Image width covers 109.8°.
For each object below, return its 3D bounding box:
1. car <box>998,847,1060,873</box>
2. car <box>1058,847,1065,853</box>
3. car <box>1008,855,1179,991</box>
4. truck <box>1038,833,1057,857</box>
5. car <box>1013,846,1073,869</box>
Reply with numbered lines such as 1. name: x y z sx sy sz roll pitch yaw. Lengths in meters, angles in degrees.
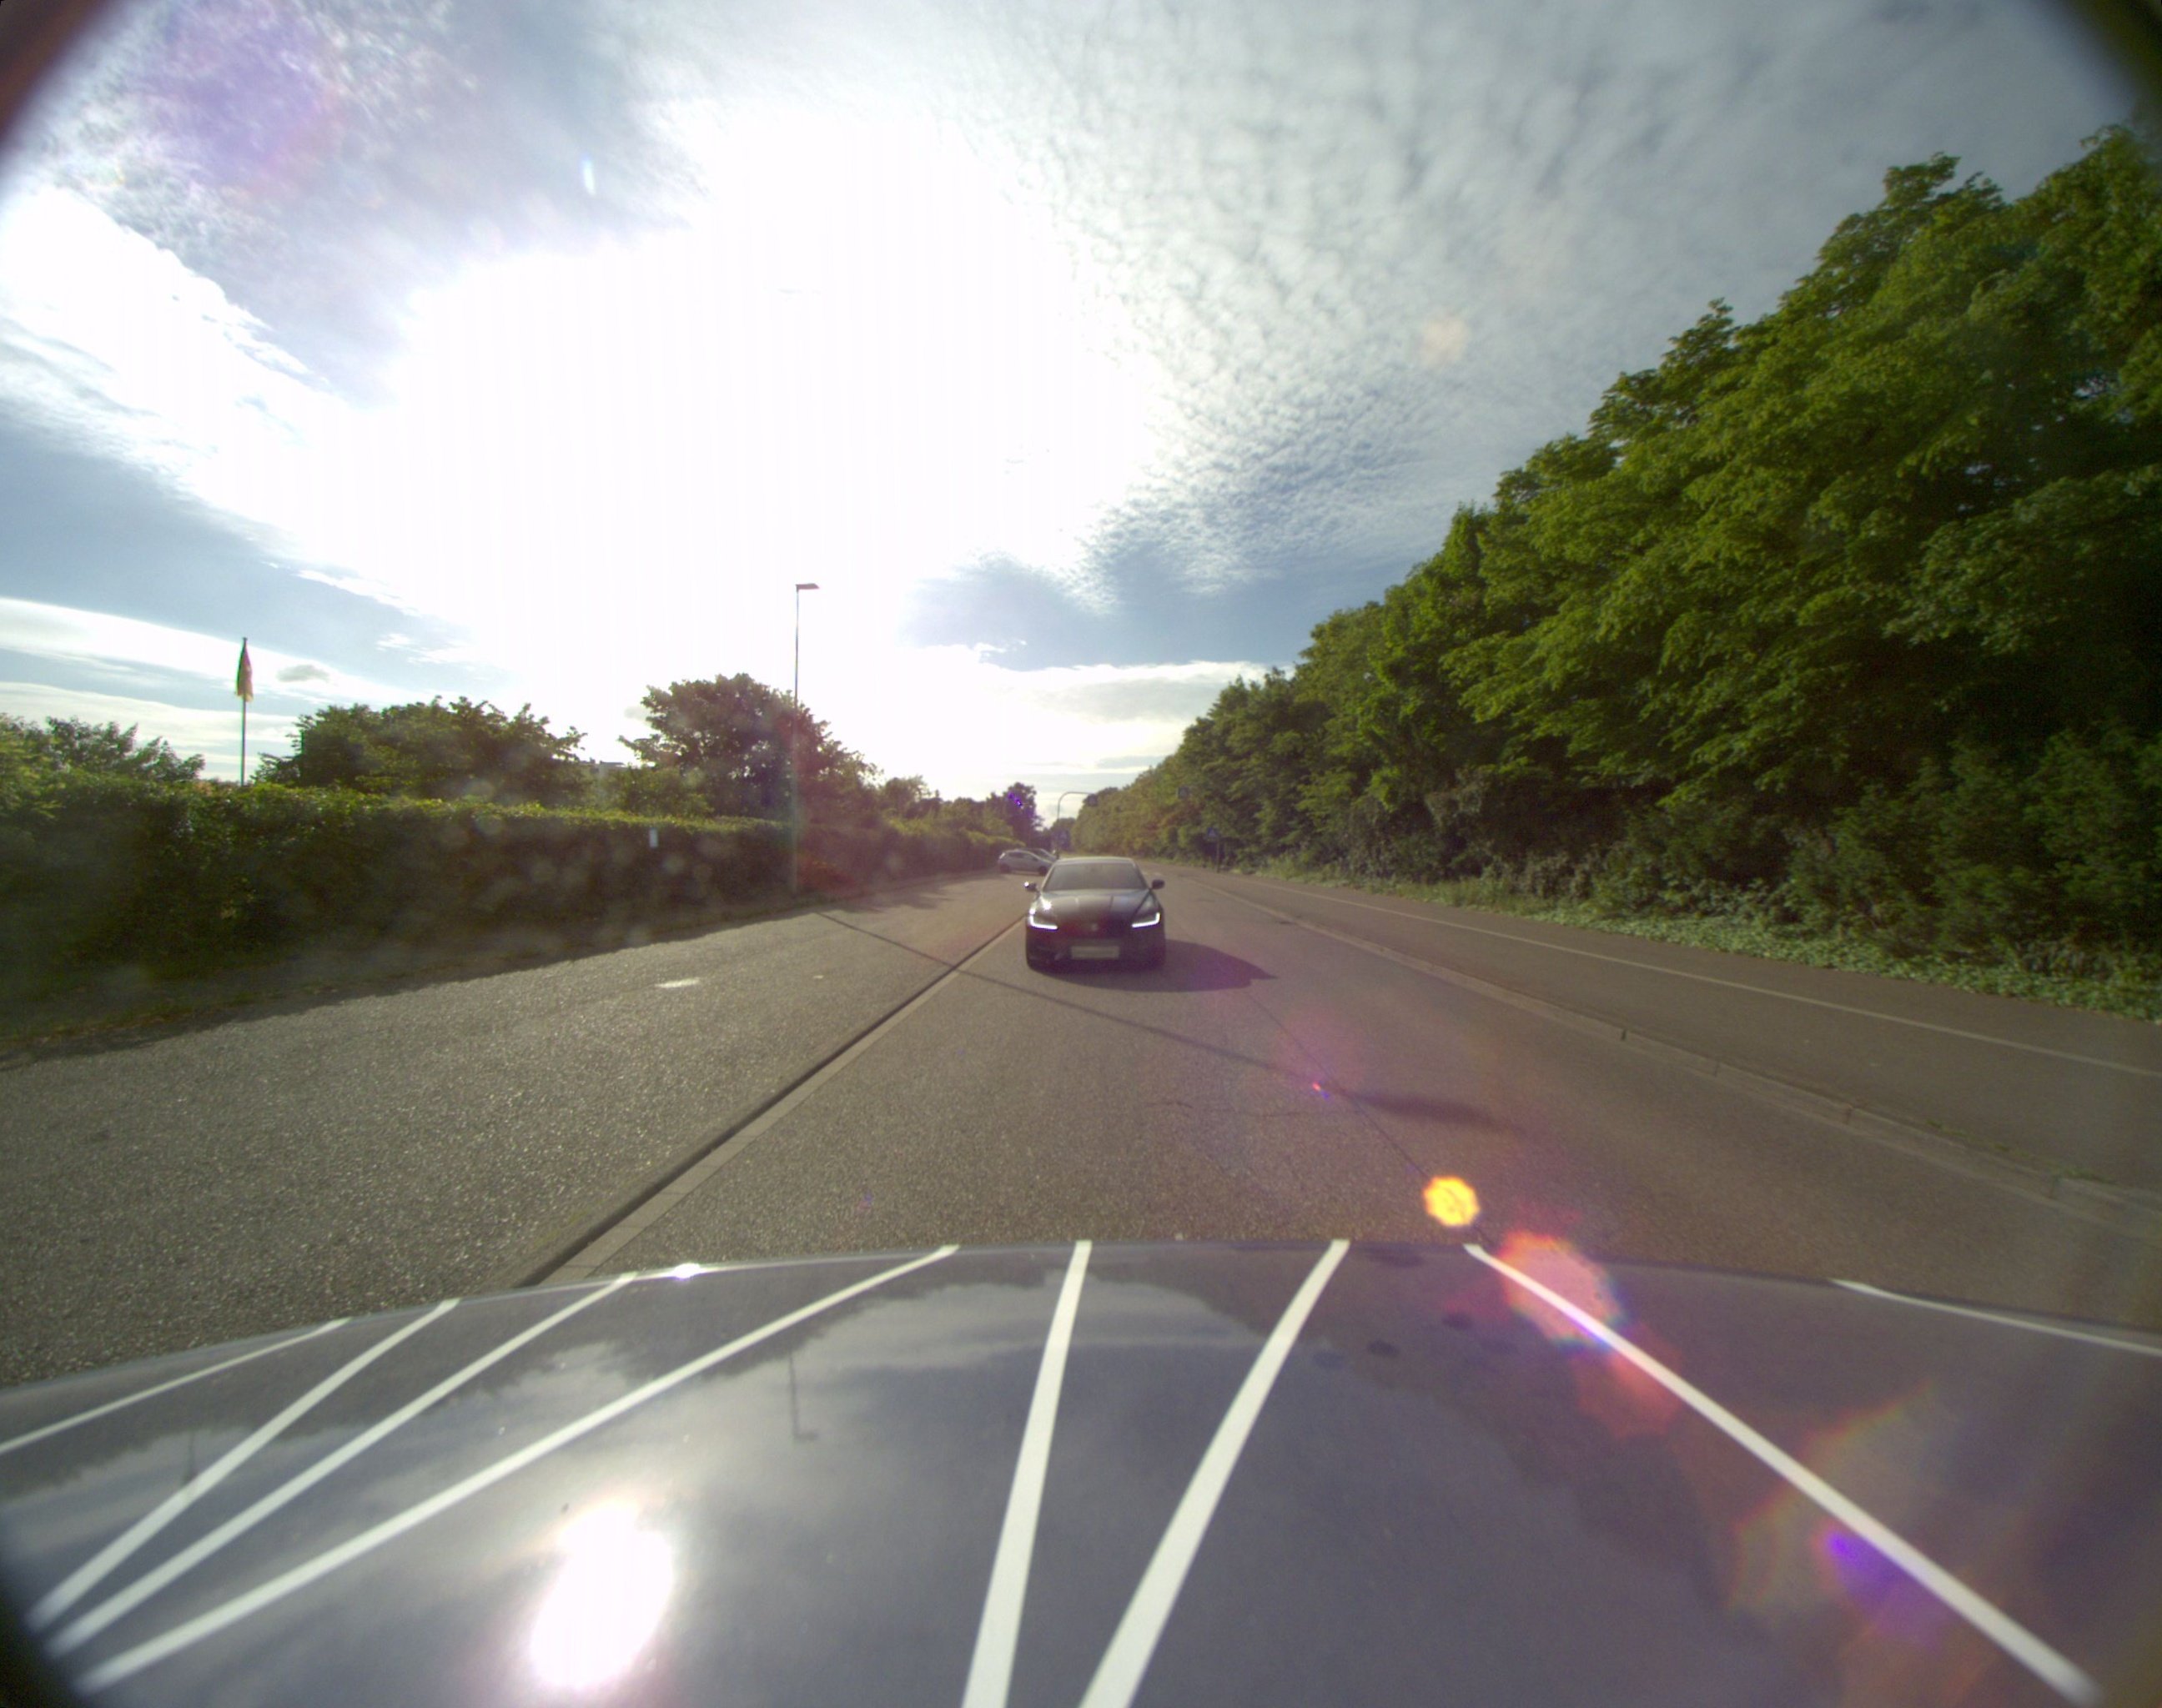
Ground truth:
1. car: -3.395 0.400 49.983 3.866 1.481 1.692 3 0 1
2. car: -5.451 -1.059 209.329 1.807 1.576 4.100 1 1 -2
3. car: 0.177 0.792 10.996 1.936 1.501 4.679 0 1 1
4. truck: -5.825 -1.500 130.727 2.603 3.935 6.279 4 0 -6
5. car: -3.021 0.234 60.642 4.598 1.690 1.763 1 1 2
